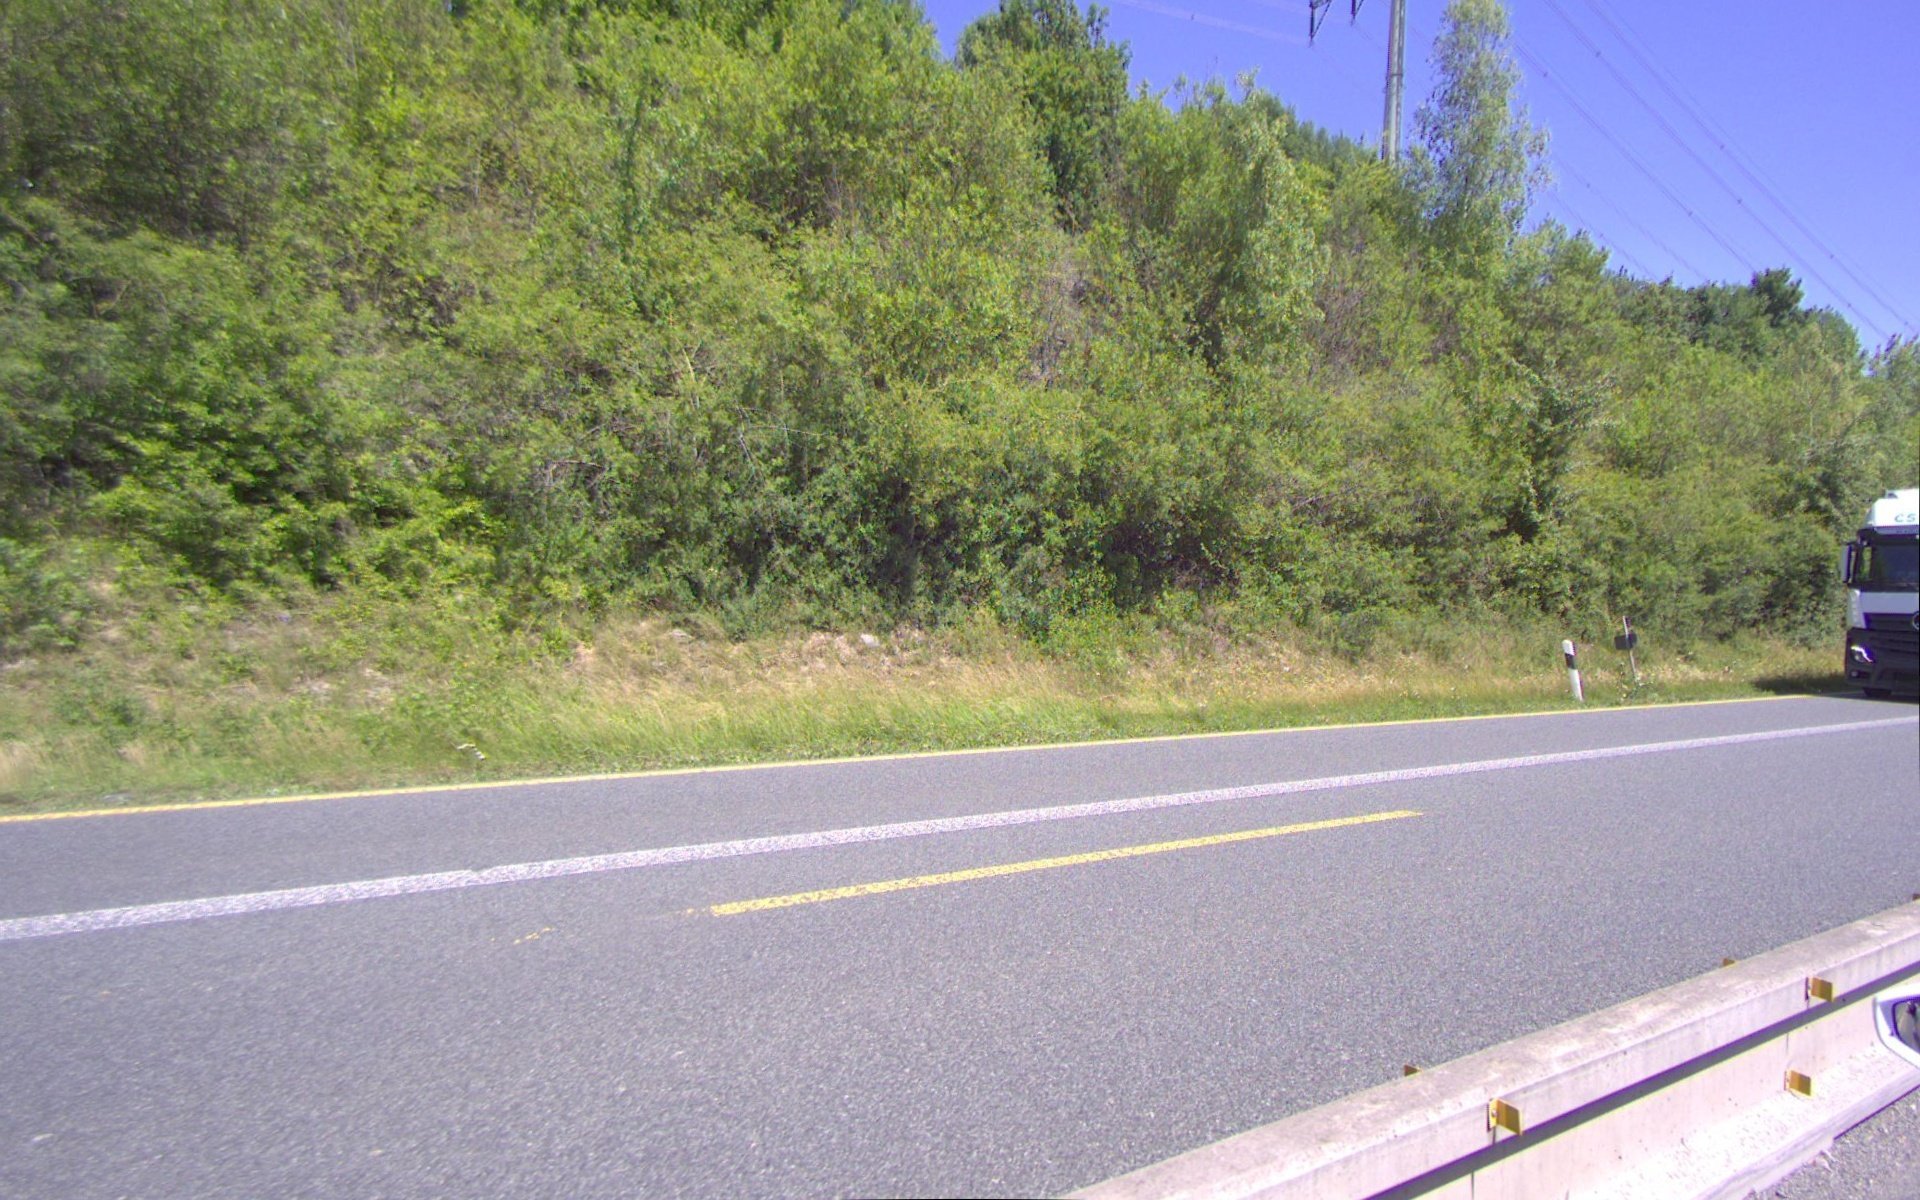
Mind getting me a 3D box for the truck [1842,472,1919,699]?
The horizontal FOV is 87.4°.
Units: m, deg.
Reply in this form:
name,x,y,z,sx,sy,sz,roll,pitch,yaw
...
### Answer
name,x,y,z,sx,sy,sz,roll,pitch,yaw
truck,21.590,-0.161,20.434,10.233,4.046,2.397,1,1,-31
